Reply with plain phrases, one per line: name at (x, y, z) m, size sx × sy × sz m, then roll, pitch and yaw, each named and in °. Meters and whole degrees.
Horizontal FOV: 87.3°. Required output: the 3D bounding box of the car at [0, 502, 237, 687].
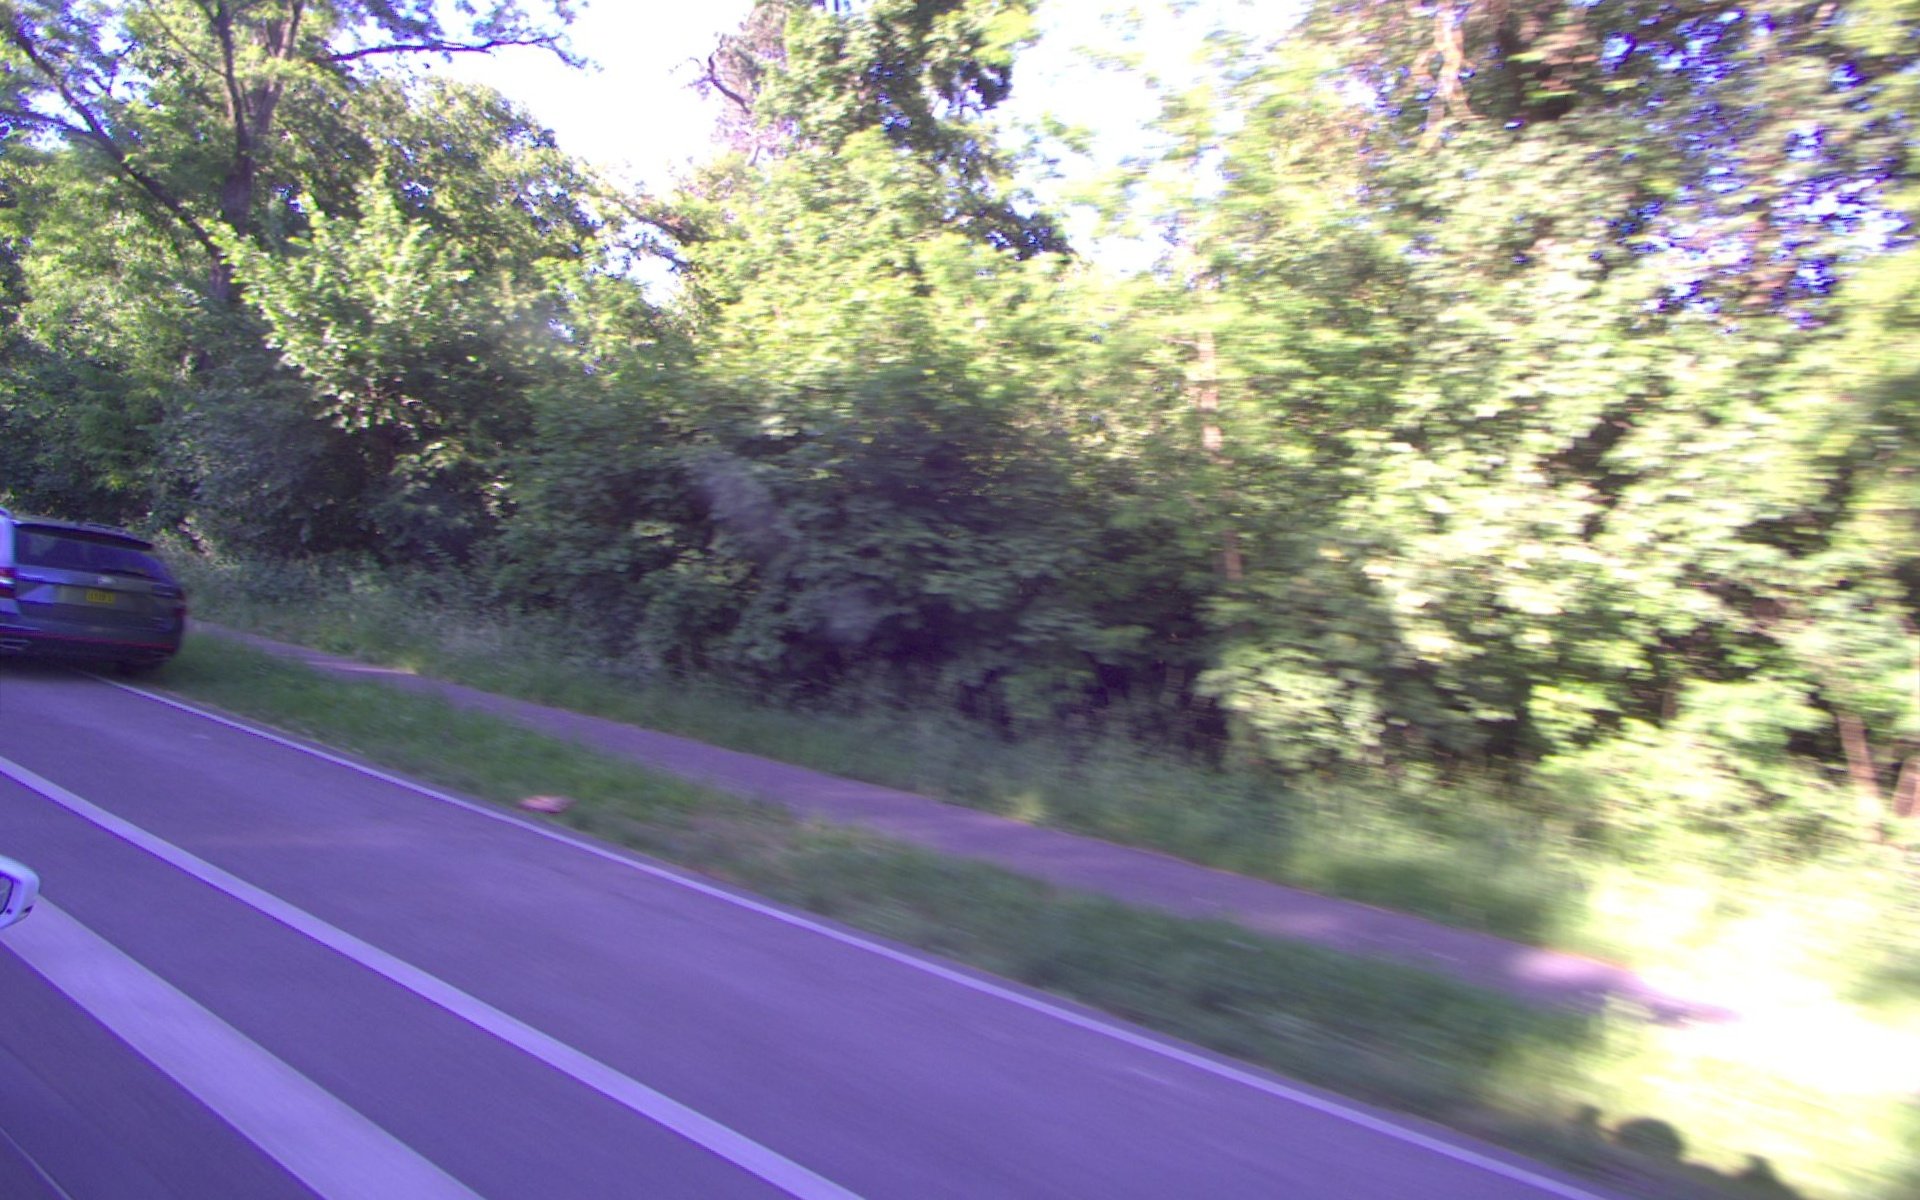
car at (-9.515, -0.224, 10.019) m, size 4.517 × 1.436 × 1.841 m, roll 7°, pitch -3°, yaw 29°
